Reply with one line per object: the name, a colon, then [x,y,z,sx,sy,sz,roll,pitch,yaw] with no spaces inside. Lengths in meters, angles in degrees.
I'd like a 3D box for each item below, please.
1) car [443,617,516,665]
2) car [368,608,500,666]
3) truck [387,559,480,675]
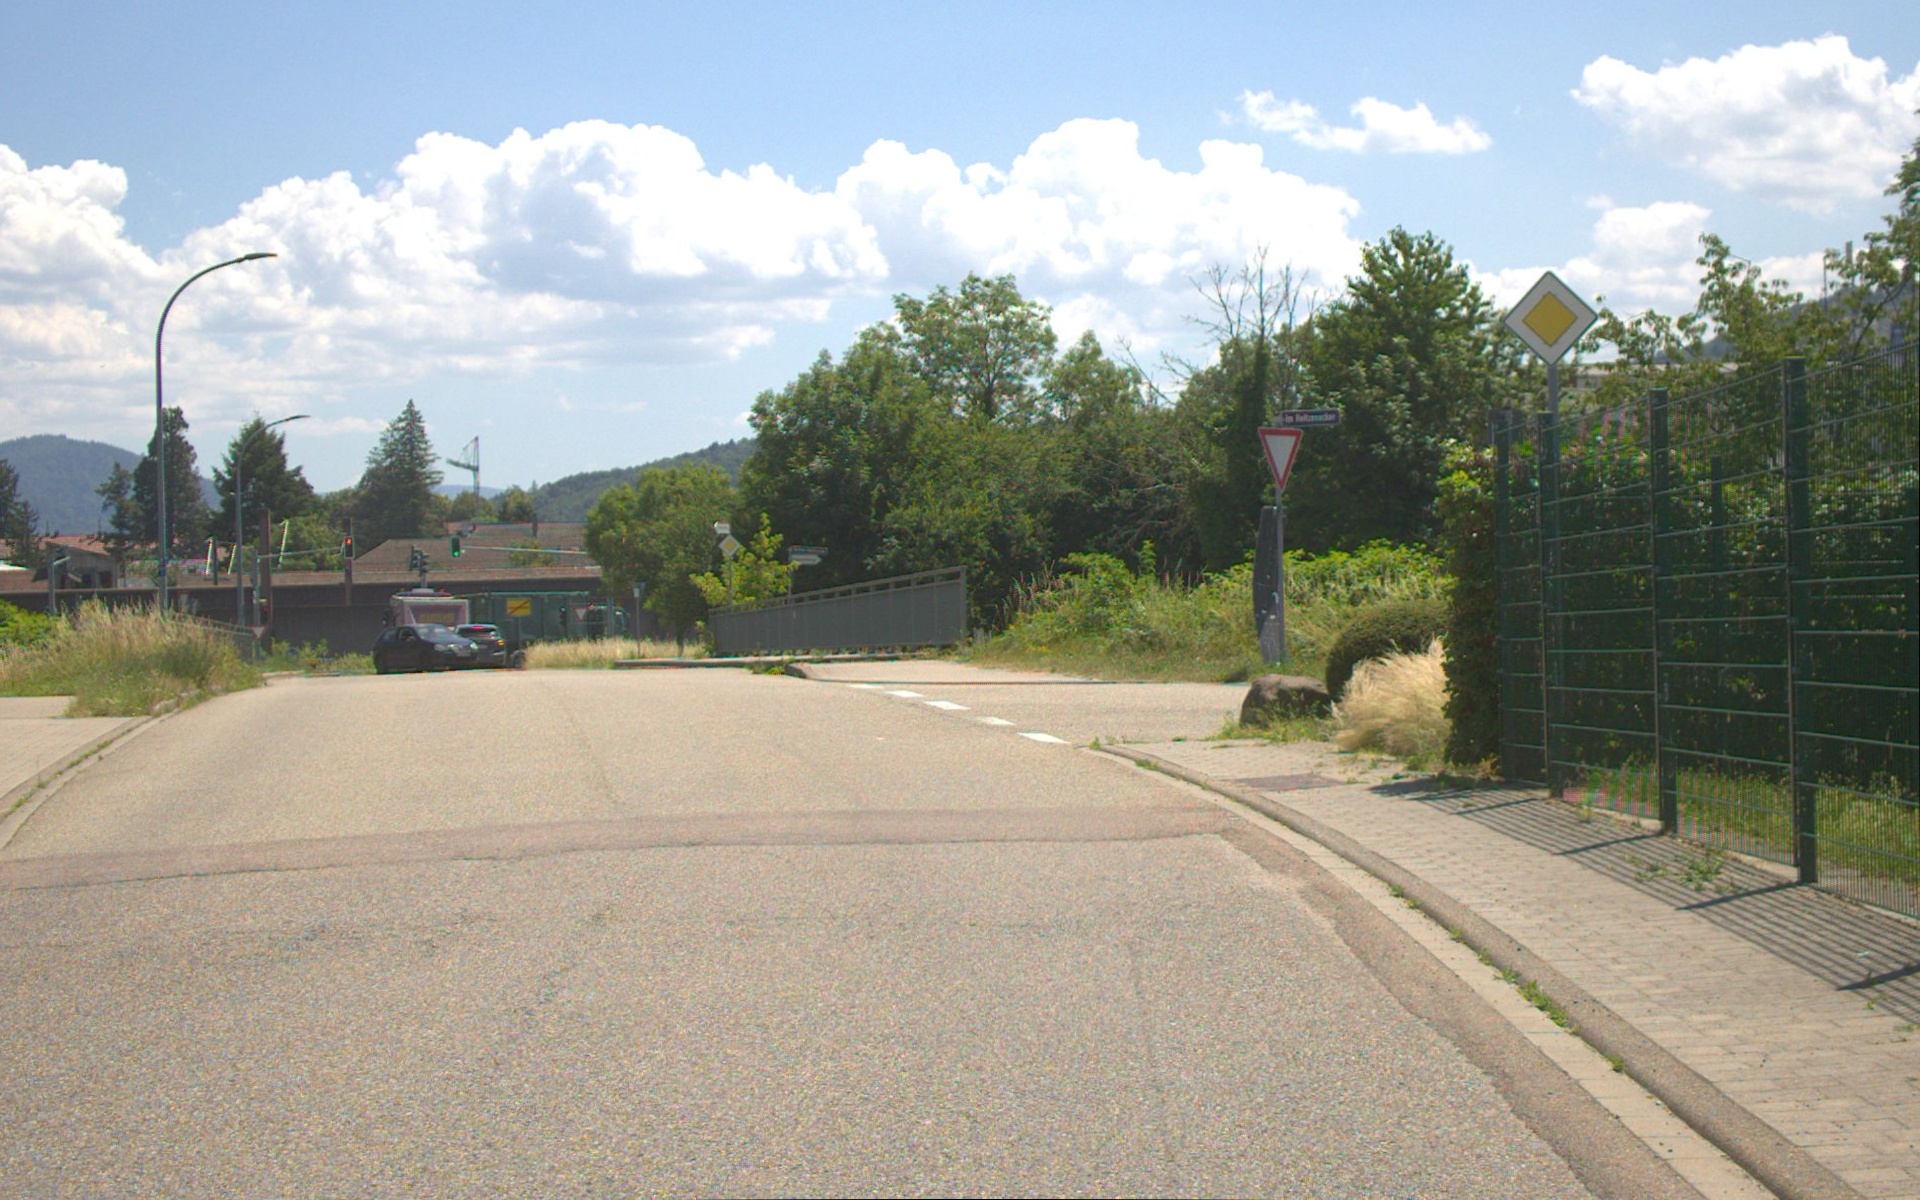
car: [-15.373,1.307,109.892,1.993,1.498,4.001,0,-1,-12]
car: [-15.751,1.100,102.874,3.767,1.629,1.882,0,1,42]
truck: [-20.461,0.753,133.081,2.995,4.166,11.809,0,-2,-11]
